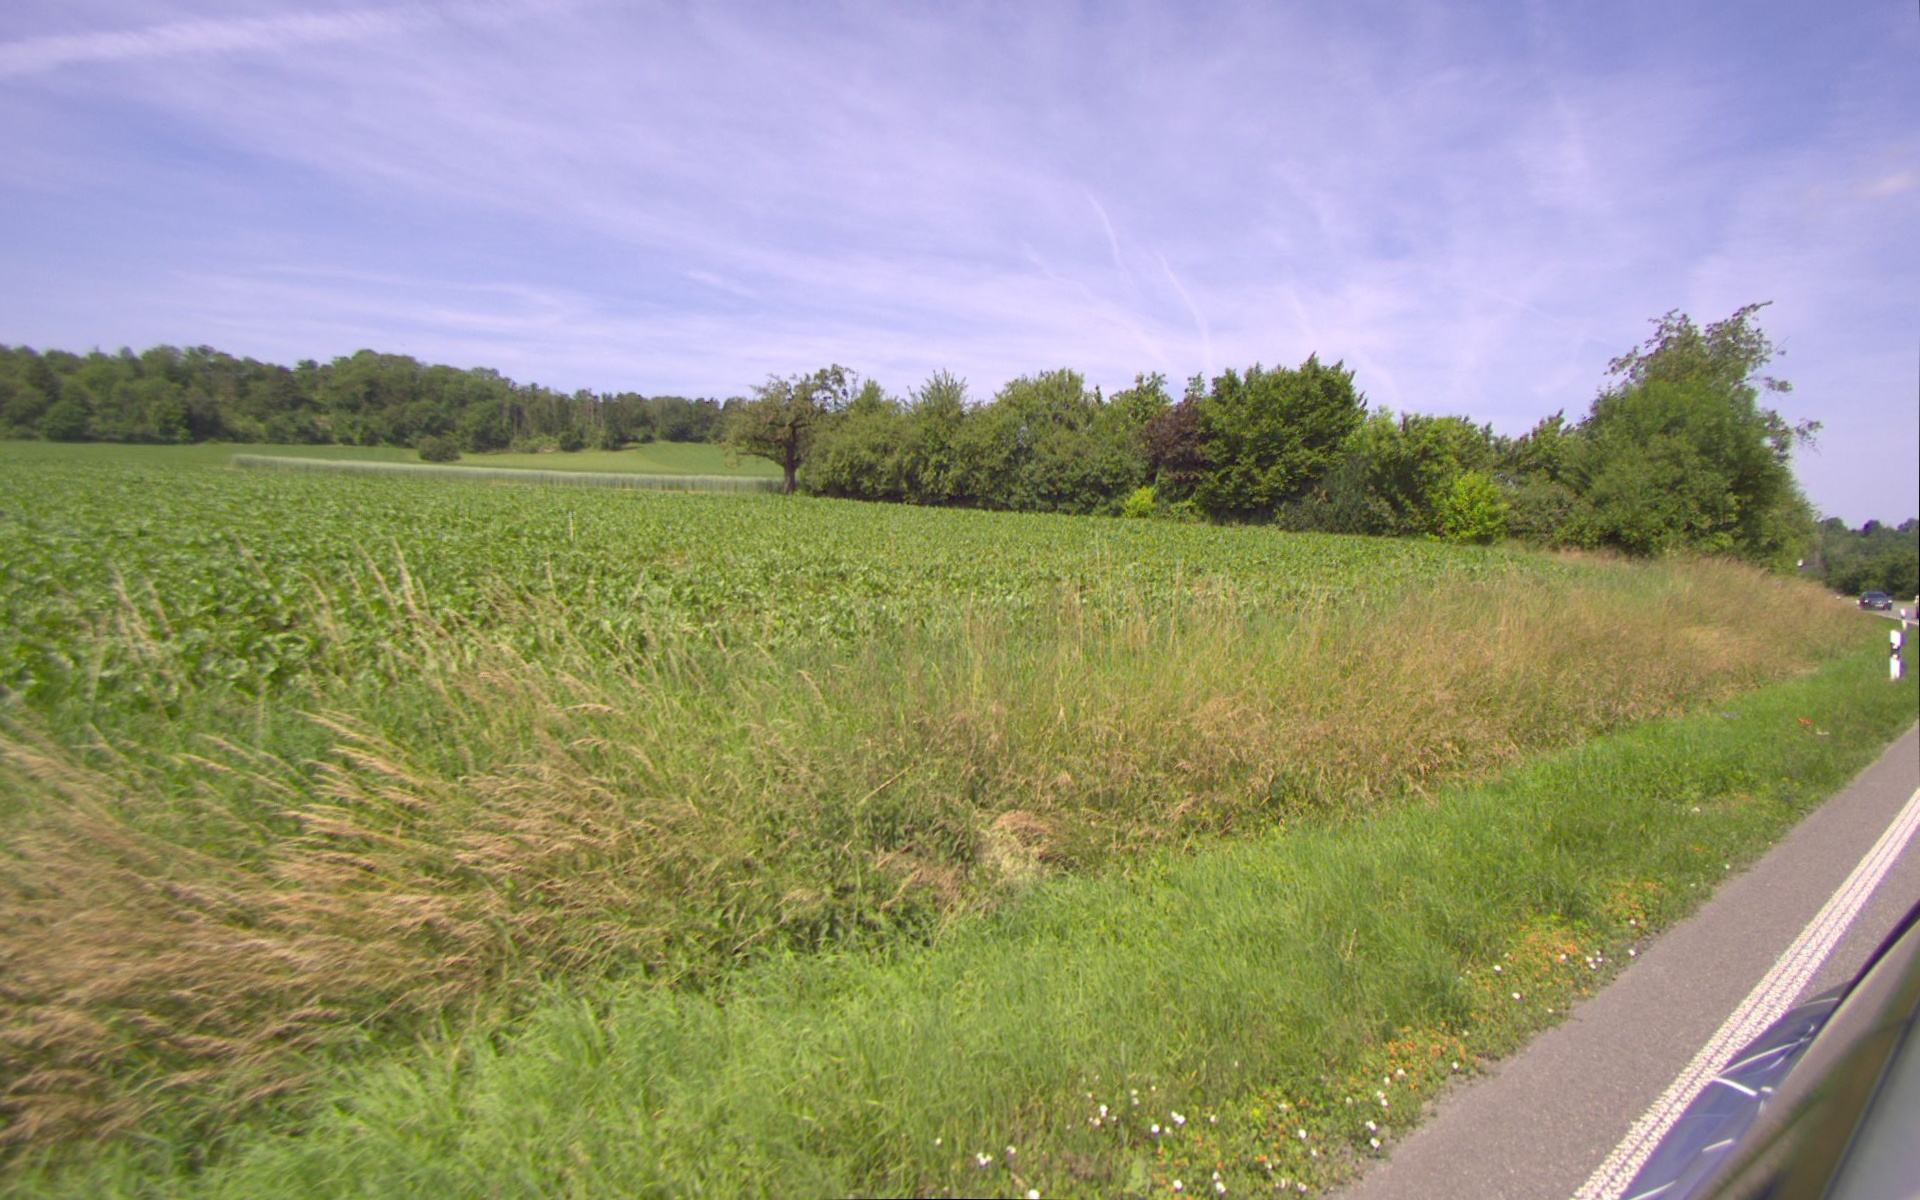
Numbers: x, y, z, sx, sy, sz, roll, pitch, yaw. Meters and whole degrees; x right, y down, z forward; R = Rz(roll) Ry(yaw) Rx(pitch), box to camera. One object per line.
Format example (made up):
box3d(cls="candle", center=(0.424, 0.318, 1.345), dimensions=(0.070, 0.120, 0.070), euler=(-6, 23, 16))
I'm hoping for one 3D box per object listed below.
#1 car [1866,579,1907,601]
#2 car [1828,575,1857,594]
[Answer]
box3d(cls="car", center=(74.900, -0.847, 81.859), dimensions=(1.816, 1.537, 3.949), euler=(7, 5, 35))
box3d(cls="car", center=(86.977, -1.575, 99.785), dimensions=(1.658, 1.669, 3.948), euler=(7, 5, 36))
